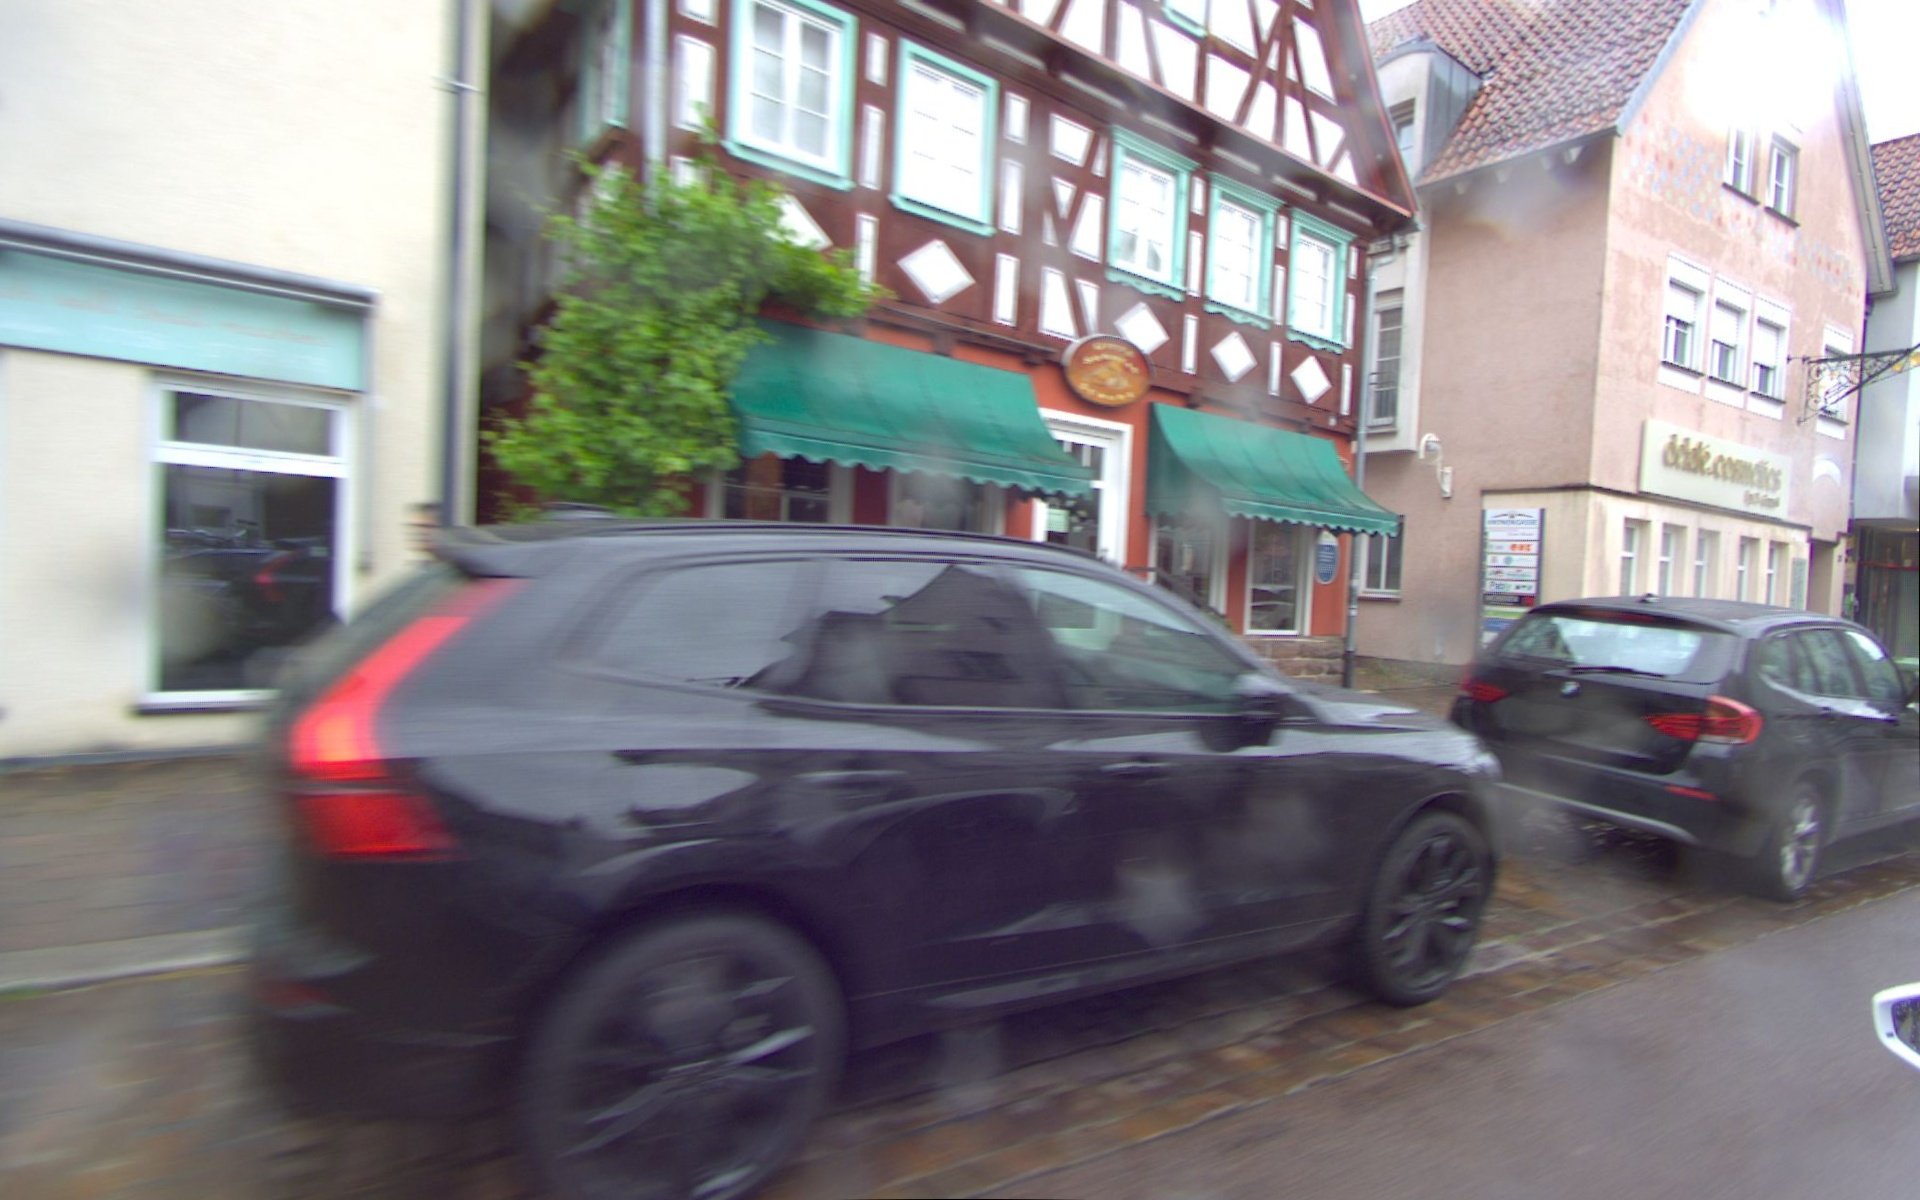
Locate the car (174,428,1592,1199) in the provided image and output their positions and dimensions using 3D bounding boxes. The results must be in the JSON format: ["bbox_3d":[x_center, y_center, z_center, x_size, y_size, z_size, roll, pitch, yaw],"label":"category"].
[{"bbox_3d":[0.142,0.575,3.730,4.590,1.688,1.814,2,2,-32],"label":"car"}]

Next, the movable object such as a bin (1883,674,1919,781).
[{"bbox_3d":[9.077,1.200,9.315,0.494,0.951,0.605,3,2,-34],"label":"movable object such as a bin"}]

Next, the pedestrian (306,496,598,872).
[{"bbox_3d":[-2.629,0.385,5.199,1.166,1.704,0.782,3,2,-37],"label":"pedestrian"}]

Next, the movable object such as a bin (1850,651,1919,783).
[{"bbox_3d":[8.537,1.042,8.909,0.669,1.096,0.764,3,1,-34],"label":"movable object such as a bin"}]

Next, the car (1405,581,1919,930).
[{"bbox_3d":[5.067,0.739,6.589,4.241,1.559,1.770,0,4,-31],"label":"car"}]
